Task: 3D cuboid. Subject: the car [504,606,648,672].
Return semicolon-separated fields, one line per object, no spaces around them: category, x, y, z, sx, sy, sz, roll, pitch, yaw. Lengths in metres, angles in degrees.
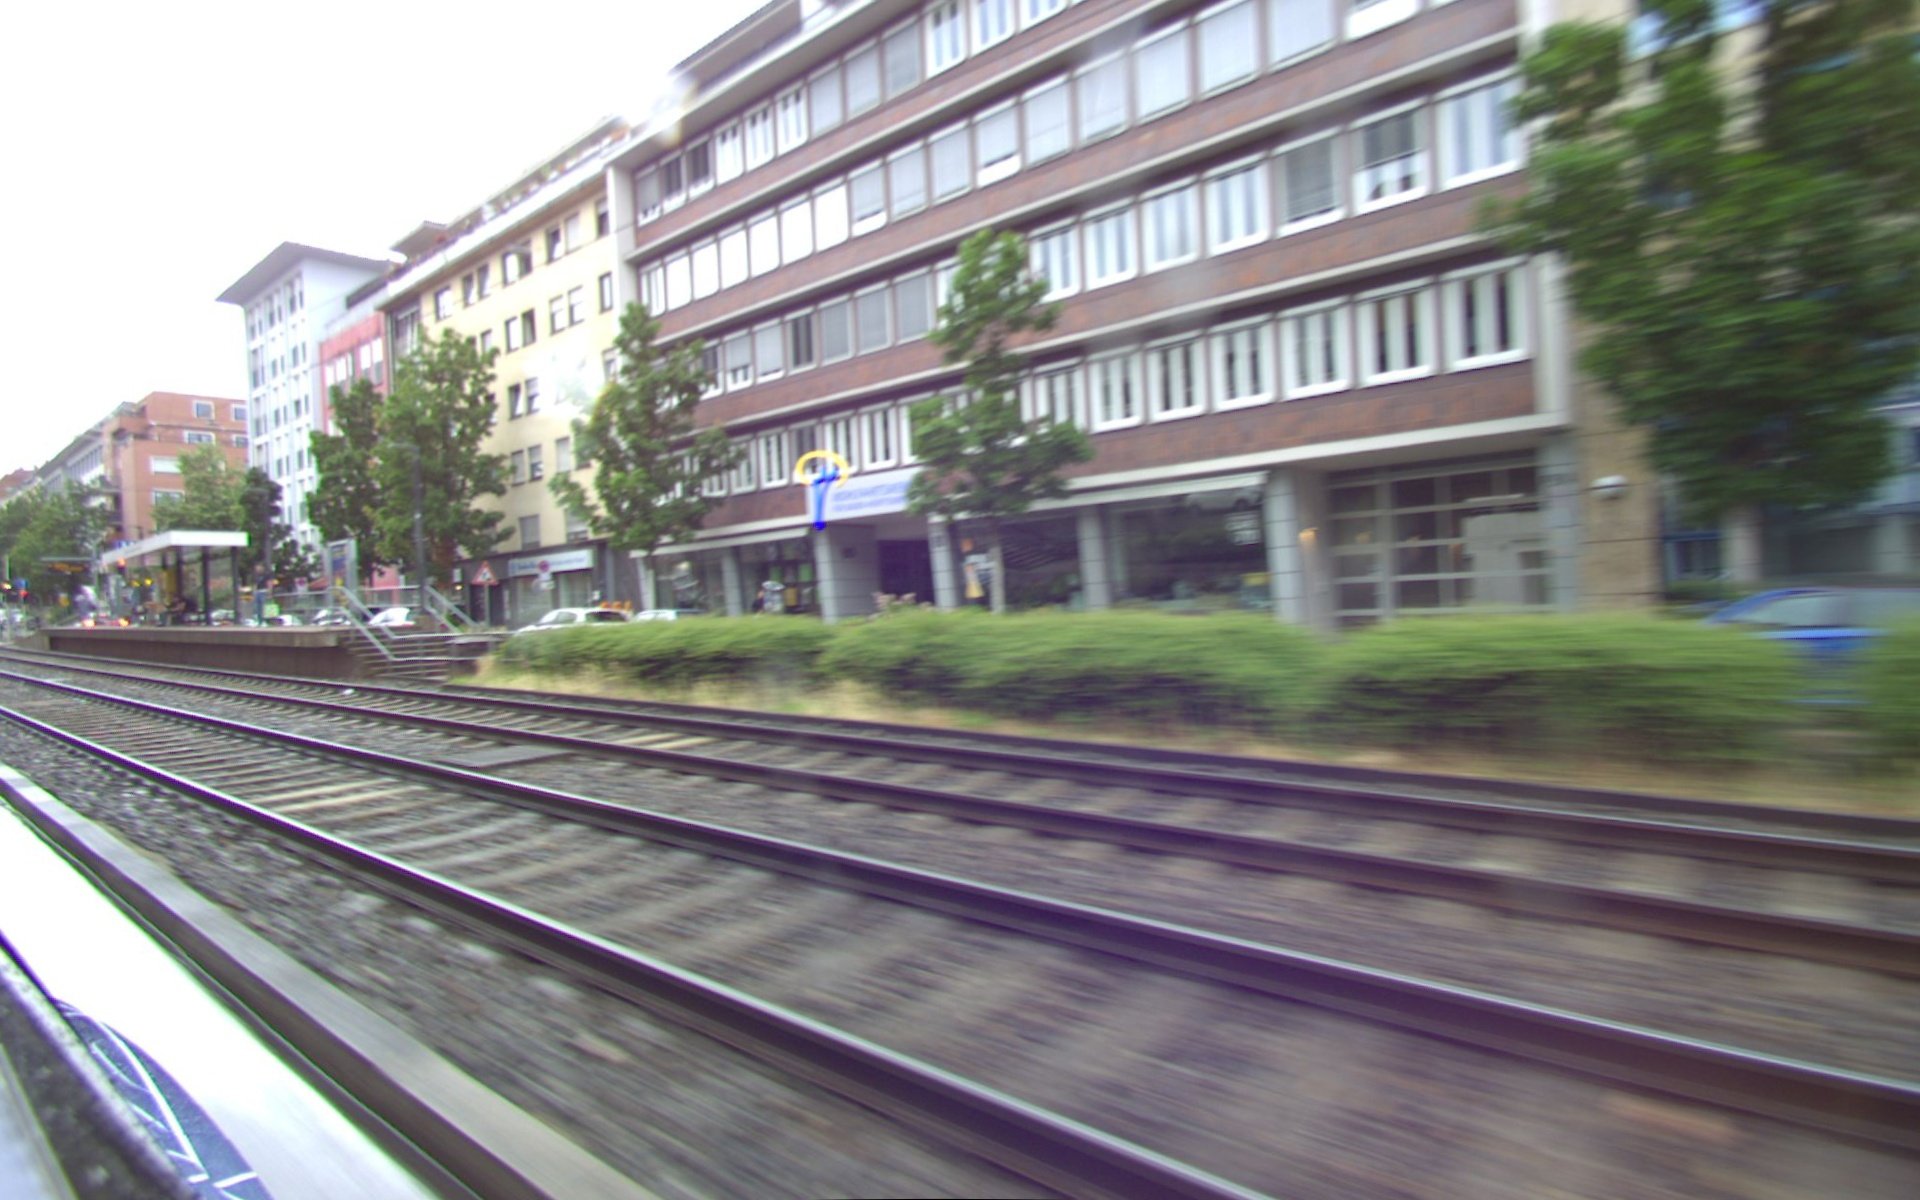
car;-10.612;1.035;27.859;3.996;1.674;1.974;-1;0;40

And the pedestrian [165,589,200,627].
pedestrian;-26.592;0.265;34.631;0.637;1.265;0.805;-1;-1;38

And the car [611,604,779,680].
car;-6.463;0.974;24.546;3.996;1.674;1.974;-1;0;40

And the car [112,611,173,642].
car;-47.090;1.509;58.250;3.996;1.674;1.974;-1;0;40

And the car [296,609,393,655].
car;-23.787;1.208;39.072;3.996;1.674;1.974;-1;0;40

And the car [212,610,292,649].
car;-32.191;1.315;45.987;3.996;1.674;1.974;-1;0;40

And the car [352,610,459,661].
car;-19.570;1.218;35.690;3.996;1.674;1.974;-1;0;40

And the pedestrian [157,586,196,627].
pedestrian;-27.142;0.206;35.055;0.637;1.396;0.946;-1;-1;38

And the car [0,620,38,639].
car;-83.716;2.622;90.059;3.996;1.674;1.974;-1;0;40

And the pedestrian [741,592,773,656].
pedestrian;-6.013;0.700;30.017;0.743;1.883;0.569;-1;-1;41

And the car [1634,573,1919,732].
car;9.460;0.493;10.370;4.065;1.509;1.632;-1;0;41

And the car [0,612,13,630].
car;-92.691;2.034;97.207;3.996;1.674;1.974;-1;0;40
